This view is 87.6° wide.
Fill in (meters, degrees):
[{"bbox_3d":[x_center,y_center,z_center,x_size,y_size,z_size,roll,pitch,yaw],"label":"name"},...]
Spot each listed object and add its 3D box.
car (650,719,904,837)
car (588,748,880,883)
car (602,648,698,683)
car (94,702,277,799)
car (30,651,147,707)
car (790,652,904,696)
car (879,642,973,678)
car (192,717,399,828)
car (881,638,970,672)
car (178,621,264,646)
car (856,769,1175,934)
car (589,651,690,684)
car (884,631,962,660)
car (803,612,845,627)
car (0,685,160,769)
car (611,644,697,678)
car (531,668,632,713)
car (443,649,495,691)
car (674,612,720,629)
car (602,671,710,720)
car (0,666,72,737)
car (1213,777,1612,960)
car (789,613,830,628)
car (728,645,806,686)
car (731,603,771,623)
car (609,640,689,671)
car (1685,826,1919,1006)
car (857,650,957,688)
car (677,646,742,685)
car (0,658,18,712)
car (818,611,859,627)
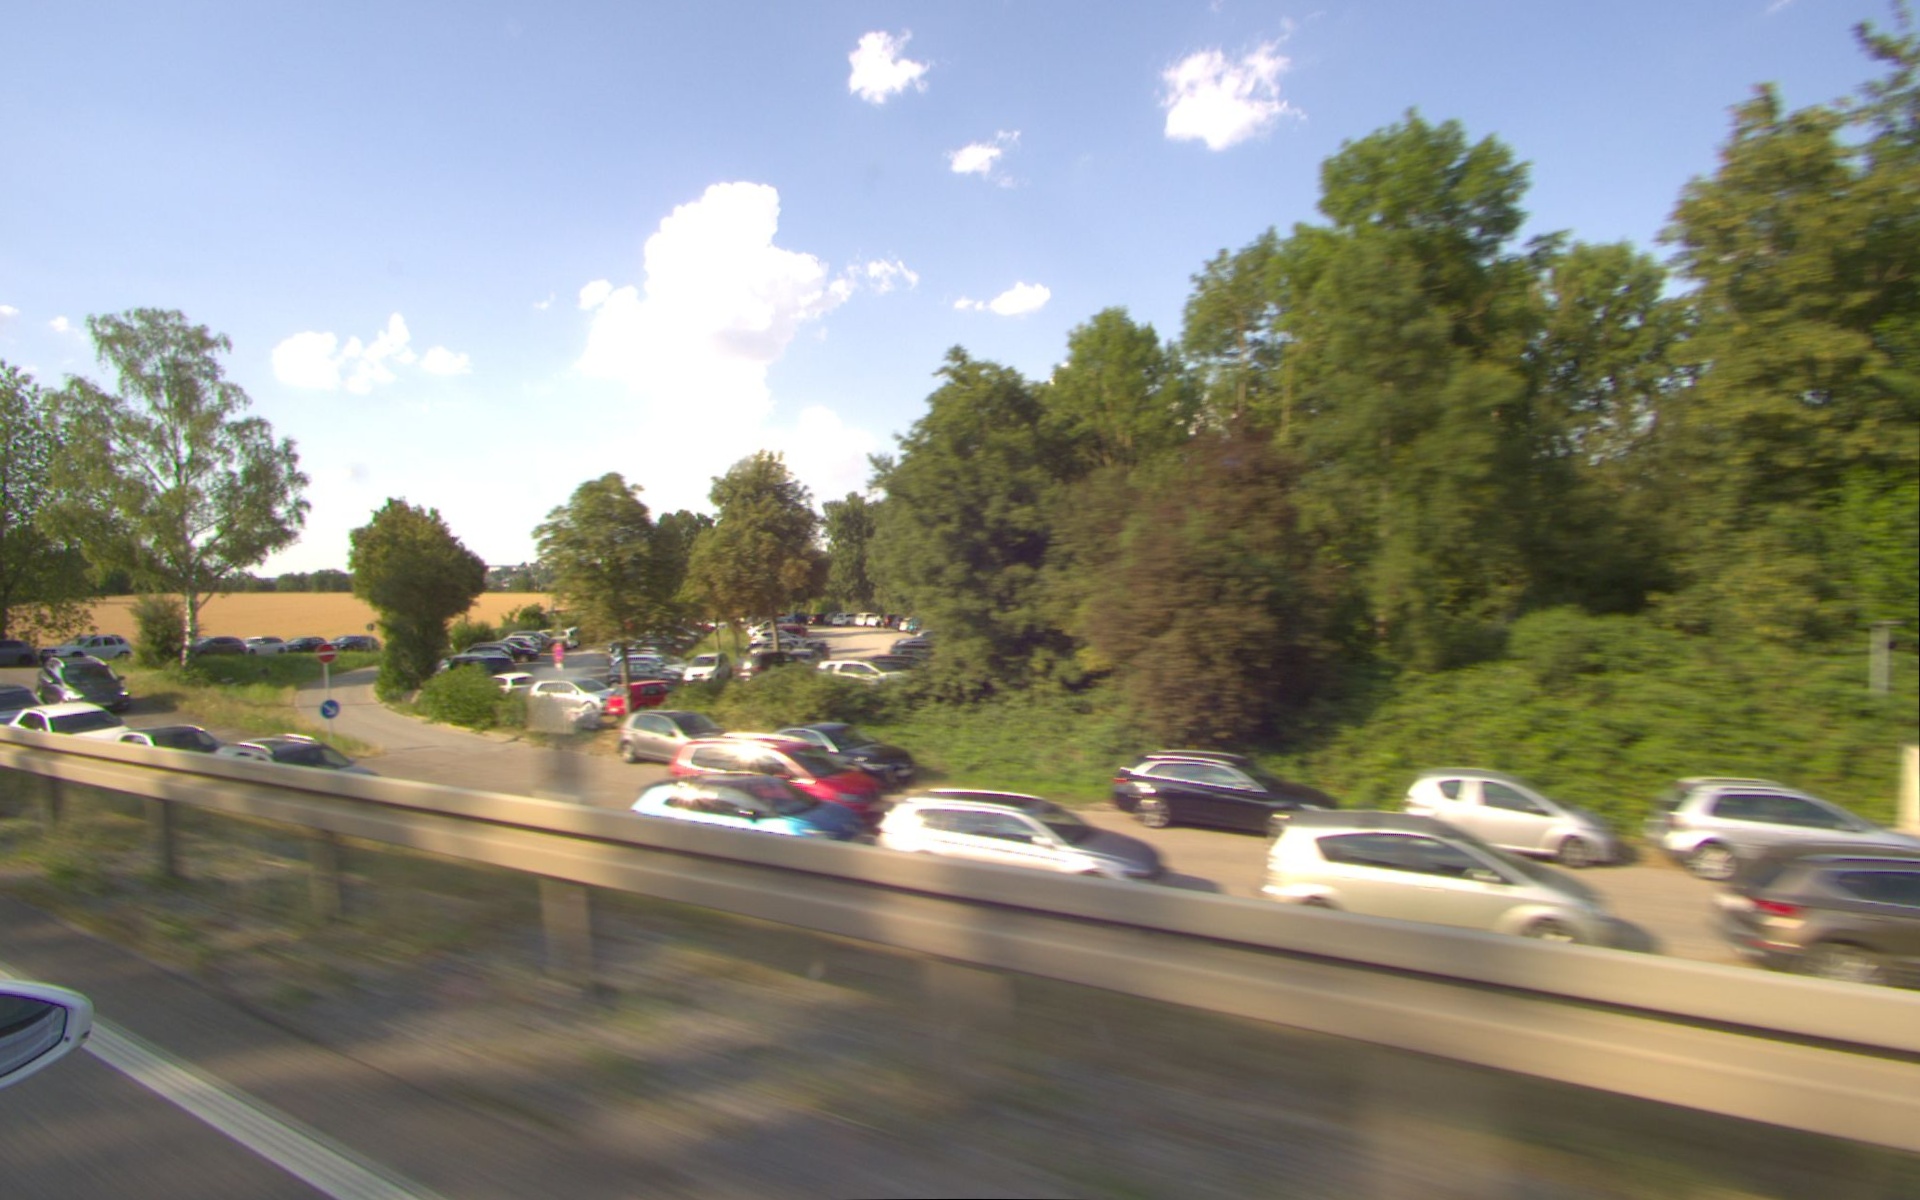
[{"bbox_3d":[-3.828,3.604,20.875,5.000,1.710,1.892,1,2,23],"label":"car"},{"bbox_3d":[-3.948,3.693,17.669,4.696,1.581,1.893,0,4,18],"label":"car"},{"bbox_3d":[-16.315,3.431,52.834,4.507,1.713,1.803,0,0,5],"label":"car"},{"bbox_3d":[-18.903,3.582,24.407,4.711,1.581,1.887,1,4,31],"label":"car"},{"bbox_3d":[-30.508,2.713,35.019,4.716,1.697,1.887,-1,0,34],"label":"car"},{"bbox_3d":[-4.814,3.142,42.877,4.511,1.713,1.802,0,0,14],"label":"car"},{"bbox_3d":[-1.701,3.021,50.837,4.508,1.713,1.803,0,0,8],"label":"car"},{"bbox_3d":[-14.570,3.665,21.903,4.711,1.581,1.887,1,4,31],"label":"car"},{"bbox_3d":[-1.794,2.882,52.988,4.508,1.713,1.803,0,0,8],"label":"car"},{"bbox_3d":[-44.741,2.051,60.770,1.776,1.459,4.593,1,-2,0],"label":"car"},{"bbox_3d":[0.868,3.843,15.900,4.702,1.581,1.891,1,4,24],"label":"car"},{"bbox_3d":[-16.138,3.370,50.517,4.507,1.563,1.803,0,0,5],"label":"car"},{"bbox_3d":[-2.218,2.757,61.146,4.508,1.713,1.803,0,0,8],"label":"car"},{"bbox_3d":[-15.518,2.247,114.429,4.517,1.713,1.799,0,0,-18],"label":"car"},{"bbox_3d":[-23.967,3.372,27.204,4.711,1.581,1.887,1,4,31],"label":"car"},{"bbox_3d":[-17.041,3.376,55.796,4.516,1.713,1.800,0,0,-18],"label":"car"},{"bbox_3d":[-15.685,3.701,41.456,3.939,1.563,1.796,0,0,29],"label":"car"},{"bbox_3d":[-24.862,3.484,50.619,1.780,1.866,4.567,0,0,-33],"label":"car"},{"bbox_3d":[-27.547,2.125,104.826,4.510,1.713,1.802,0,0,-10],"label":"car"},{"bbox_3d":[-11.802,3.669,38.981,1.636,1.563,3.745,0,0,42],"label":"car"},{"bbox_3d":[-28.950,3.022,30.388,4.717,1.581,1.885,2,4,35],"label":"car"},{"bbox_3d":[6.029,3.568,13.873,4.699,1.580,1.894,1,0,21],"label":"car"},{"bbox_3d":[-17.588,2.387,117.007,4.517,1.713,1.799,0,0,-18],"label":"car"},{"bbox_3d":[-9.527,3.198,49.825,1.787,1.776,4.138,0,0,23],"label":"car"},{"bbox_3d":[-25.415,1.533,122.090,2.291,2.273,5.659,-2,0,17],"label":"car"},{"bbox_3d":[-18.943,3.368,61.150,4.510,1.713,1.802,0,0,-10],"label":"car"},{"bbox_3d":[11.437,3.704,11.476,4.699,1.577,1.897,1,-5,21],"label":"car"},{"bbox_3d":[-2.507,3.257,47.726,4.508,1.713,1.803,0,0,8],"label":"car"},{"bbox_3d":[-12.660,3.280,50.812,1.623,1.693,4.148,0,0,11],"label":"car"},{"bbox_3d":[-33.175,2.797,33.343,4.721,1.581,1.883,2,4,38],"label":"car"},{"bbox_3d":[-13.675,2.119,112.452,4.510,1.713,1.802,0,0,-10],"label":"car"}]
